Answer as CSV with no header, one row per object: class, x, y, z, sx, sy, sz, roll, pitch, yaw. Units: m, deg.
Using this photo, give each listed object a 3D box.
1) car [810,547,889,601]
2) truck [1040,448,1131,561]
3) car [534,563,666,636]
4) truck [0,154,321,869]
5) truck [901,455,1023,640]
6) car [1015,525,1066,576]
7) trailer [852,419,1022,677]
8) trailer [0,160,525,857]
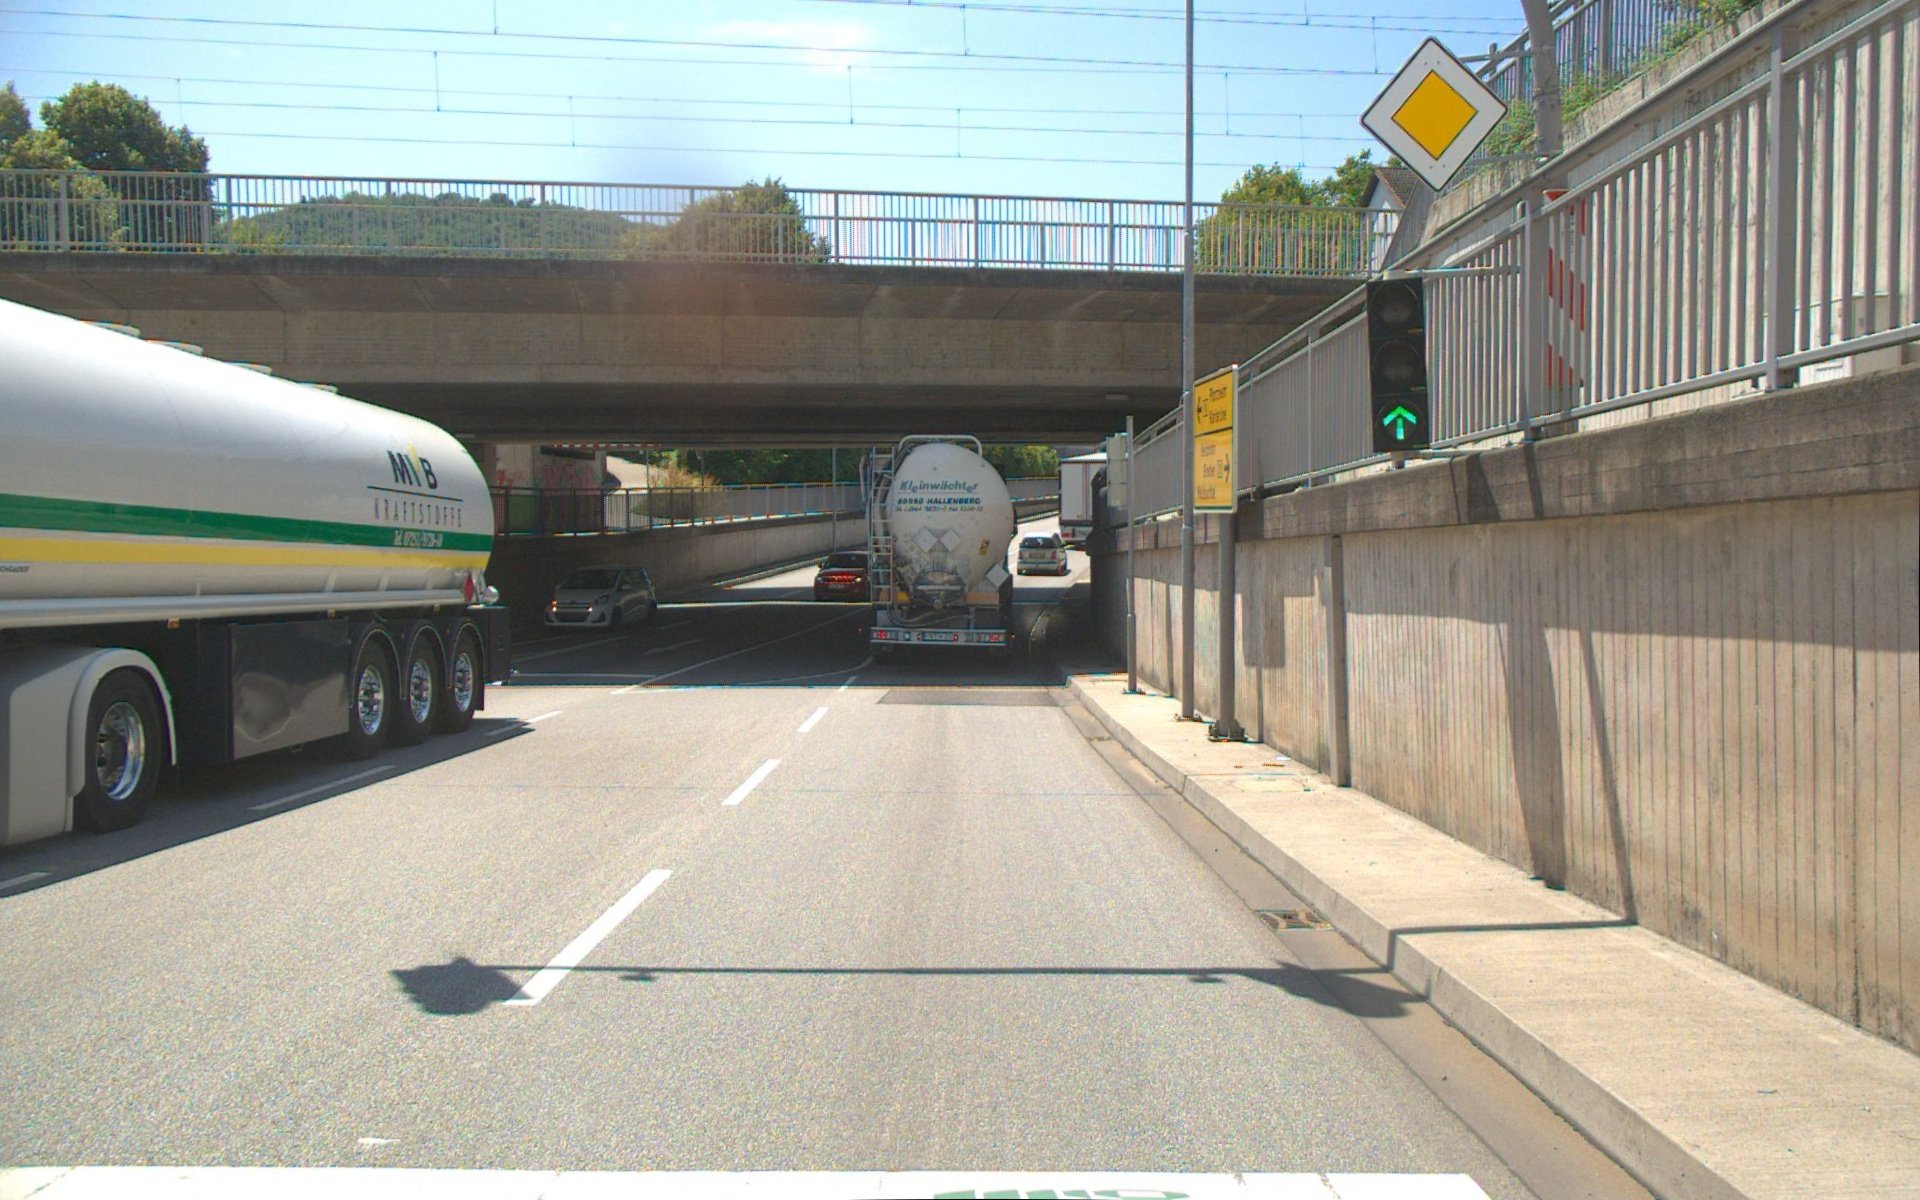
car,-3.387,-0.827,51.425,1.706,1.489,3.829,1,3,8
truck,6.187,-4.685,79.800,3.015,5.085,10.097,1,4,12
car,-8.452,-0.041,39.149,1.742,1.492,3.837,-2,2,9
truck,-6.312,-0.472,8.905,2.633,3.727,7.371,1,0,2
truck,0.165,-1.266,40.292,2.678,4.135,6.532,0,2,2
car,3.132,-1.939,63.766,1.842,1.667,4.006,0,6,5
trailer,-0.118,-1.039,33.255,2.678,4.134,13.319,0,2,2
trailer,-6.309,-0.545,13.786,2.634,3.727,9.890,1,0,1
